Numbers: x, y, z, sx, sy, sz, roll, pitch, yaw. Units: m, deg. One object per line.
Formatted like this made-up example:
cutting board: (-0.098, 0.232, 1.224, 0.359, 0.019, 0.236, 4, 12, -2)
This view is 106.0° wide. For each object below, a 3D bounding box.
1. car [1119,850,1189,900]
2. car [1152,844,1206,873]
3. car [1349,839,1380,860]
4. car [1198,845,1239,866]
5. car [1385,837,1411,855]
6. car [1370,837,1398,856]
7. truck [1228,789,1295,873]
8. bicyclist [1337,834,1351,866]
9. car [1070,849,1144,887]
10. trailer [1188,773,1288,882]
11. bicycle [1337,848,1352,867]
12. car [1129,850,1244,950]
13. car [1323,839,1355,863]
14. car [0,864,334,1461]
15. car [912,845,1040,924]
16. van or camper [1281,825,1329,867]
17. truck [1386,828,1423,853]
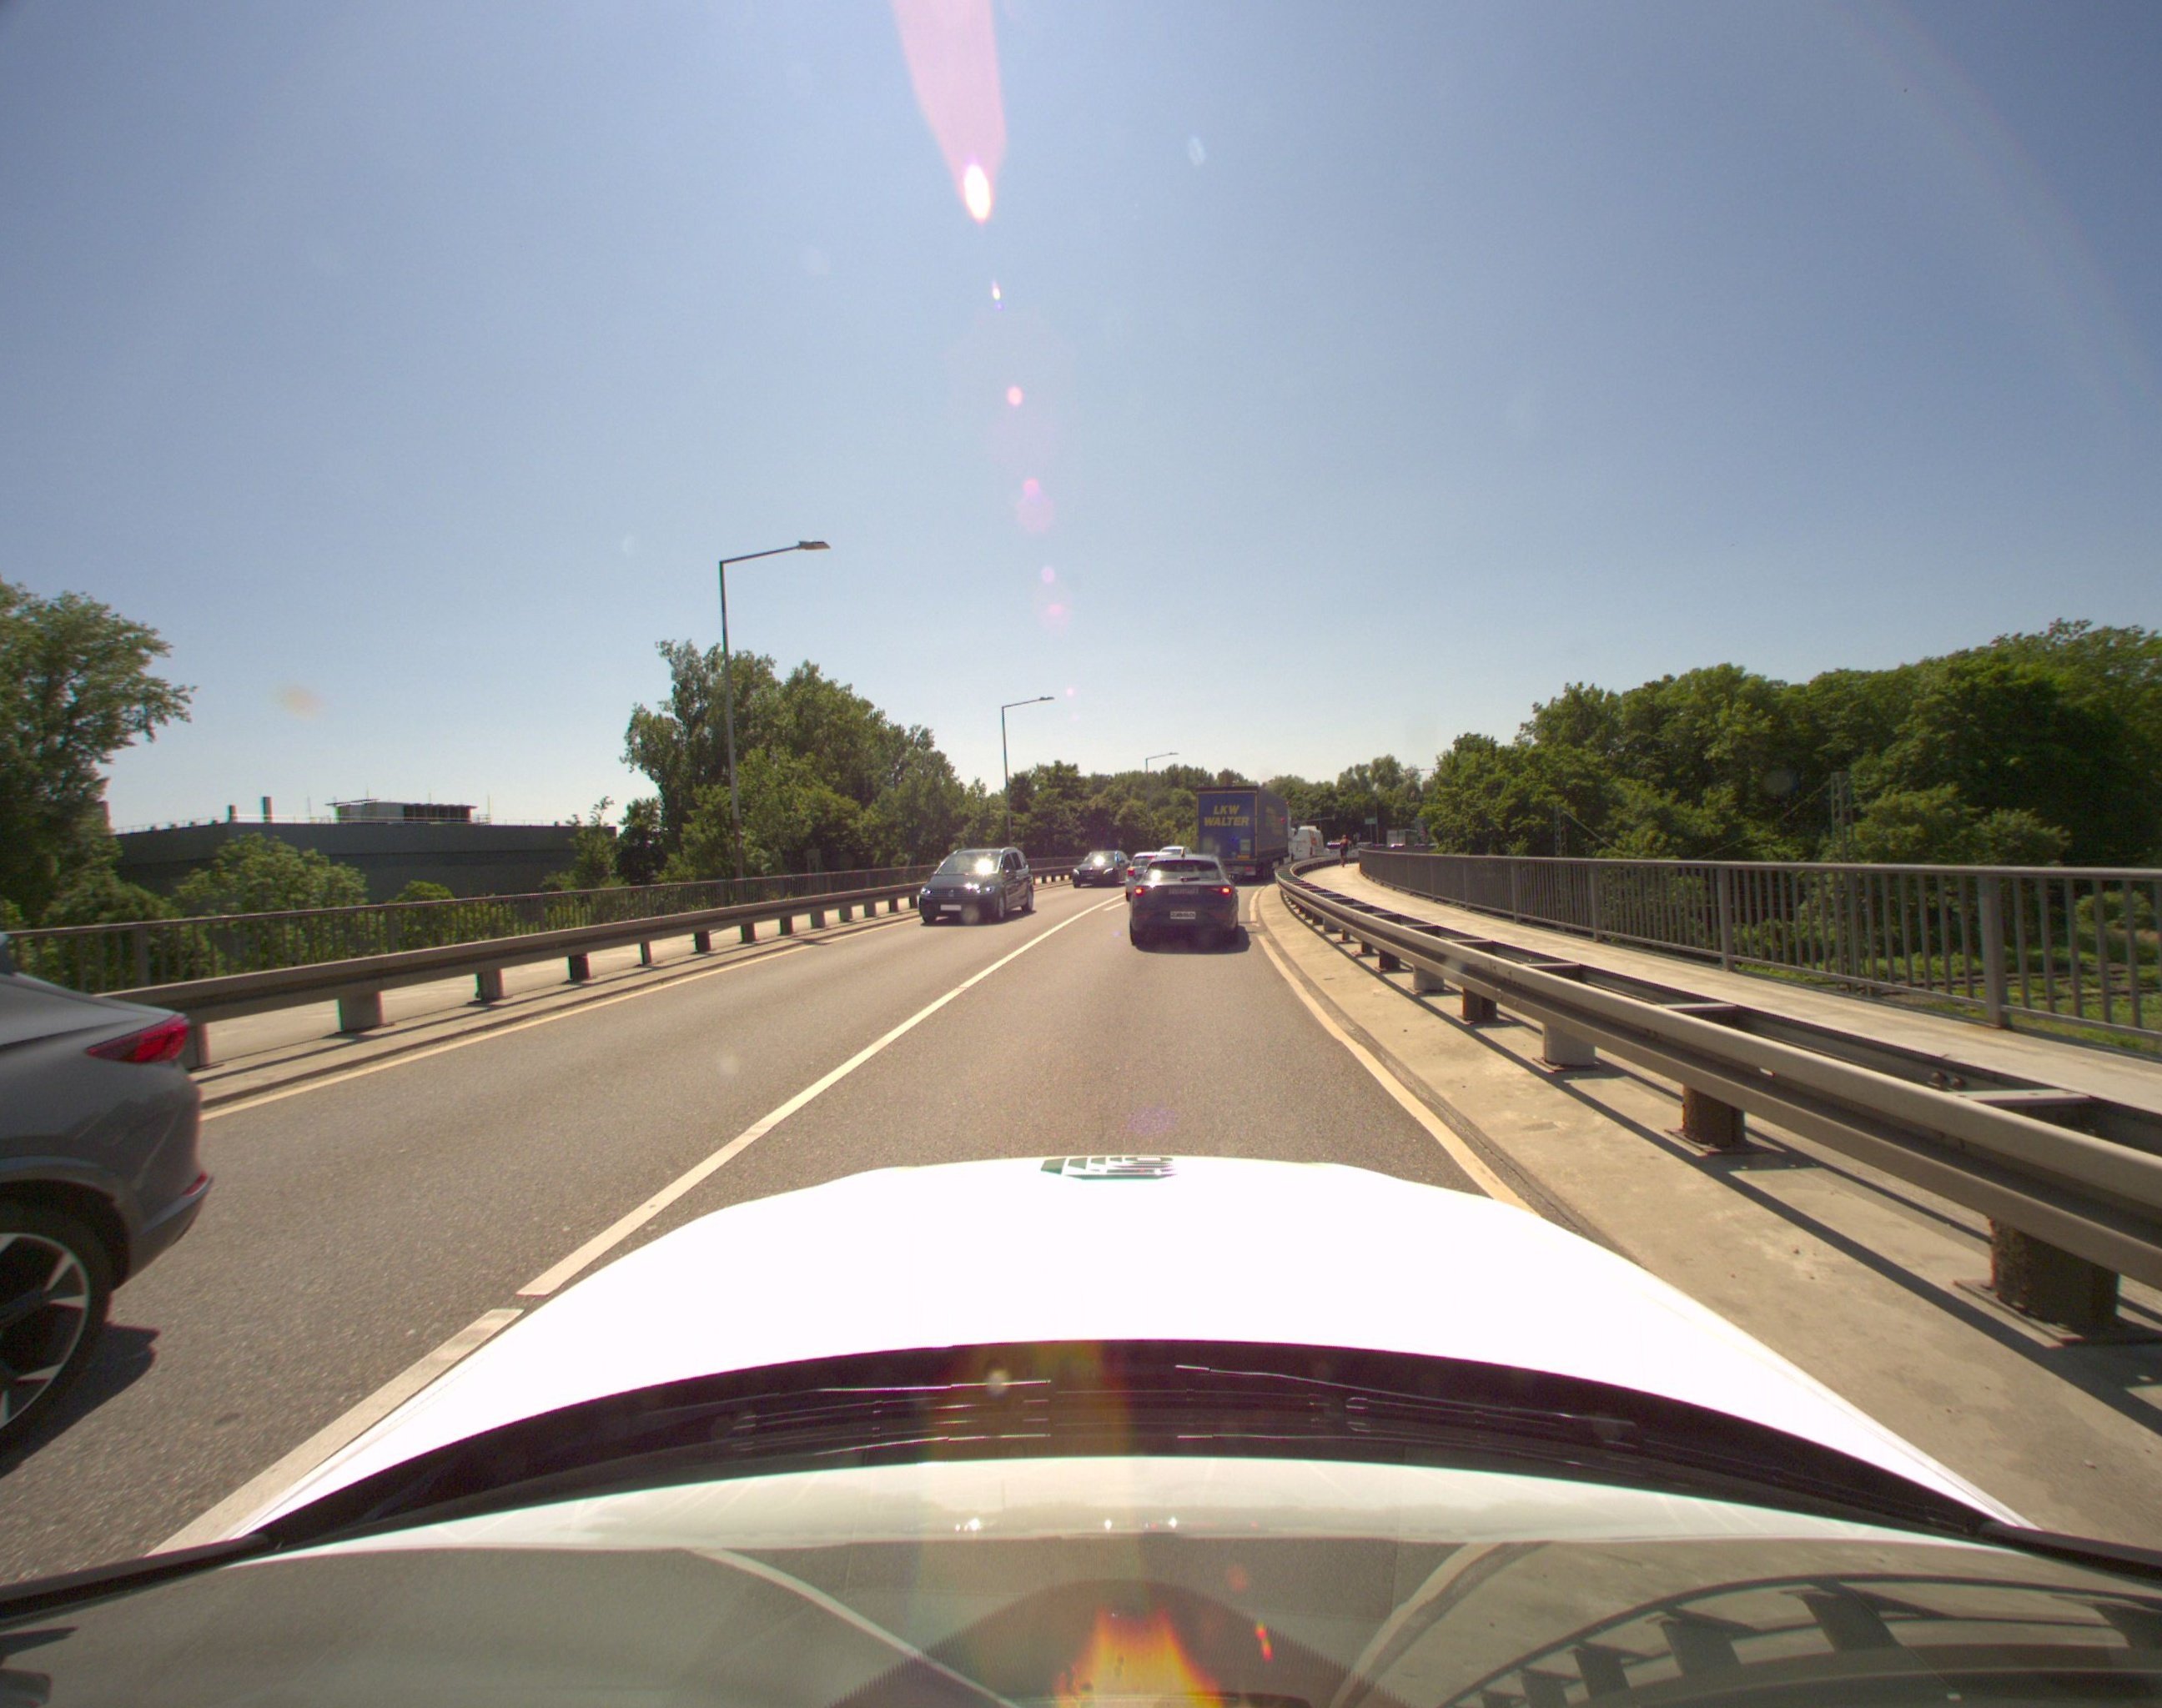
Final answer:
car: (2.386, 0.615, 25.641, 1.665, 1.411, 3.989, -1, 1, 13)
car: (5.815, 0.234, 47.987, 1.720, 1.580, 4.202, -2, 0, 27)
car: (25.418, -0.425, 73.043, 1.704, 1.802, 4.026, -1, 1, 33)
car: (9.819, 0.077, 58.101, 1.681, 1.376, 4.024, -2, 0, 28)
car: (33.590, -0.881, 86.155, 1.704, 1.844, 4.026, -1, 1, 34)
car: (30.095, -0.771, 80.761, 1.704, 1.844, 4.026, -1, 1, 34)
truck: (10.389, -1.245, 46.339, 2.880, 4.418, 6.588, -1, 1, 19)
bicyclist: (14.601, -0.226, 45.225, 0.572, 1.683, 0.733, -4, -1, 24)
car: (1.177, 0.545, 34.409, 1.757, 1.438, 4.414, -2, 0, 20)
trailer: (7.915, -1.136, 39.288, 2.880, 4.418, 12.494, -1, 1, 19)
bicycle: (14.624, 0.181, 45.201, 0.576, 1.035, 1.493, -4, -1, 25)
car: (1.751, 0.674, 14.023, 1.669, 1.456, 3.965, -1, 0, 6)
car: (20.858, -0.263, 65.672, 1.704, 1.843, 4.025, -1, 1, 28)
car: (-3.700, 0.824, 0.889, 1.768, 1.508, 4.196, -2, 0, 2)
car: (-2.341, 0.645, 19.331, 1.761, 1.625, 4.265, -2, 0, 10)
van or camper: (15.767, -0.569, 57.047, 2.134, 2.815, 6.424, -1, 0, 25)
truck: (38.459, -1.625, 96.701, 2.312, 2.873, 5.978, -1, 1, 40)
